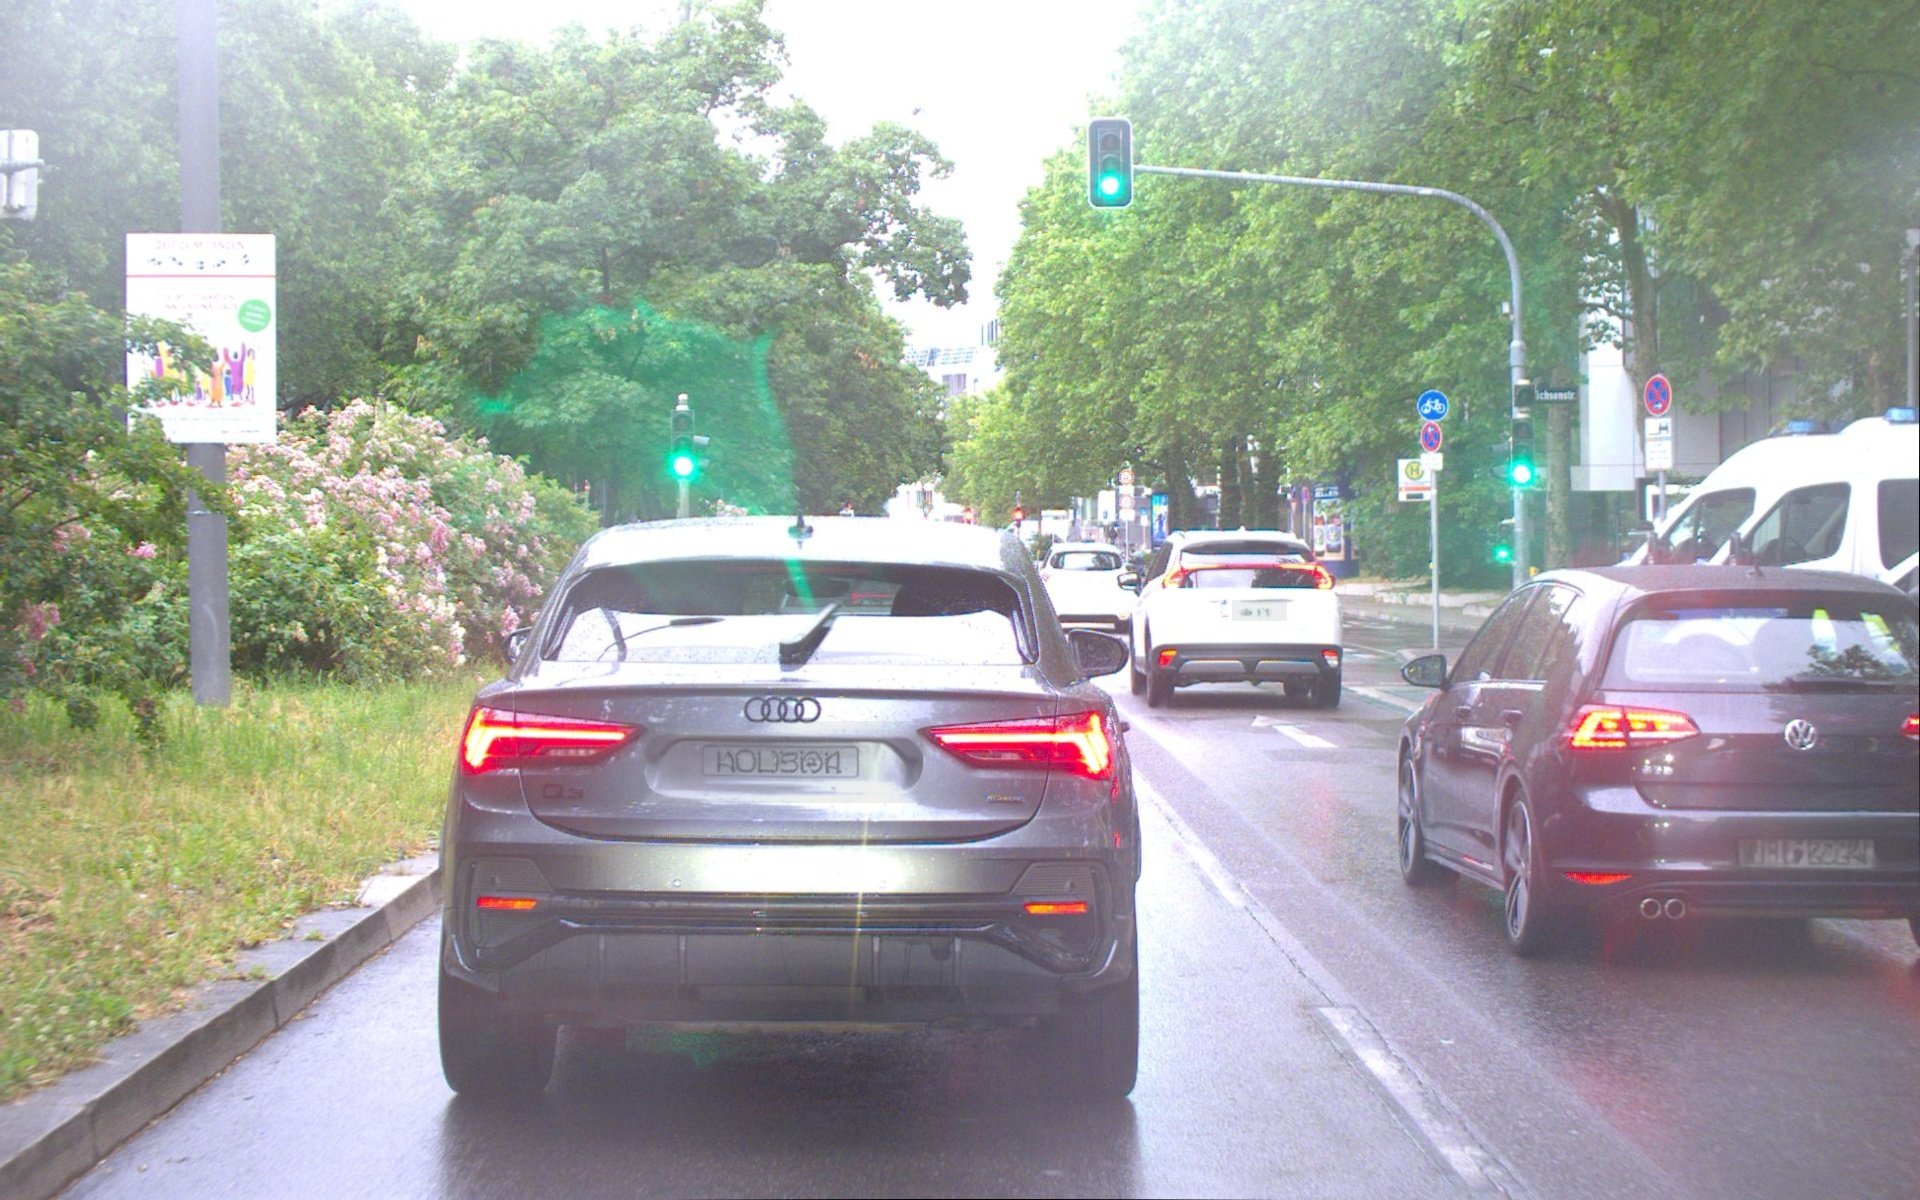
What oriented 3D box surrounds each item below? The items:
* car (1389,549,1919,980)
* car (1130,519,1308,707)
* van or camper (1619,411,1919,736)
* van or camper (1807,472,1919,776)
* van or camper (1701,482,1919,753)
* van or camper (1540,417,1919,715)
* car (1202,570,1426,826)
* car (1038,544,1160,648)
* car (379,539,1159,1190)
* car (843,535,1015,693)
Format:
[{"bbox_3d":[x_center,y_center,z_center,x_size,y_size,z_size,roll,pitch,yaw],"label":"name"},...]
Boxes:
[{"bbox_3d":[2.870,0.528,13.660,1.765,1.408,4.000,-1,1,-1],"label":"car"},{"bbox_3d":[2.415,0.082,32.562,1.433,1.679,2.979,-1,1,0],"label":"car"},{"bbox_3d":[8.649,-0.236,28.887,5.805,2.671,1.996,0,1,35],"label":"van or camper"},{"bbox_3d":[8.356,0.202,22.207,5.203,1.985,1.996,2,1,34],"label":"van or camper"},{"bbox_3d":[8.338,0.135,25.901,5.011,2.007,1.996,0,0,35],"label":"van or camper"},{"bbox_3d":[8.539,-0.328,32.146,5.810,2.668,2.143,1,1,37],"label":"van or camper"},{"bbox_3d":[2.077,0.538,20.602,1.050,1.383,2.694,-1,1,0],"label":"car"},{"bbox_3d":[2.435,-0.098,61.140,1.993,1.744,4.000,0,1,0],"label":"car"},{"bbox_3d":[-0.425,0.592,10.479,1.863,1.527,4.527,0,1,1],"label":"car"},{"bbox_3d":[-0.337,0.101,36.662,1.721,1.572,3.962,0,1,-1],"label":"car"}]
